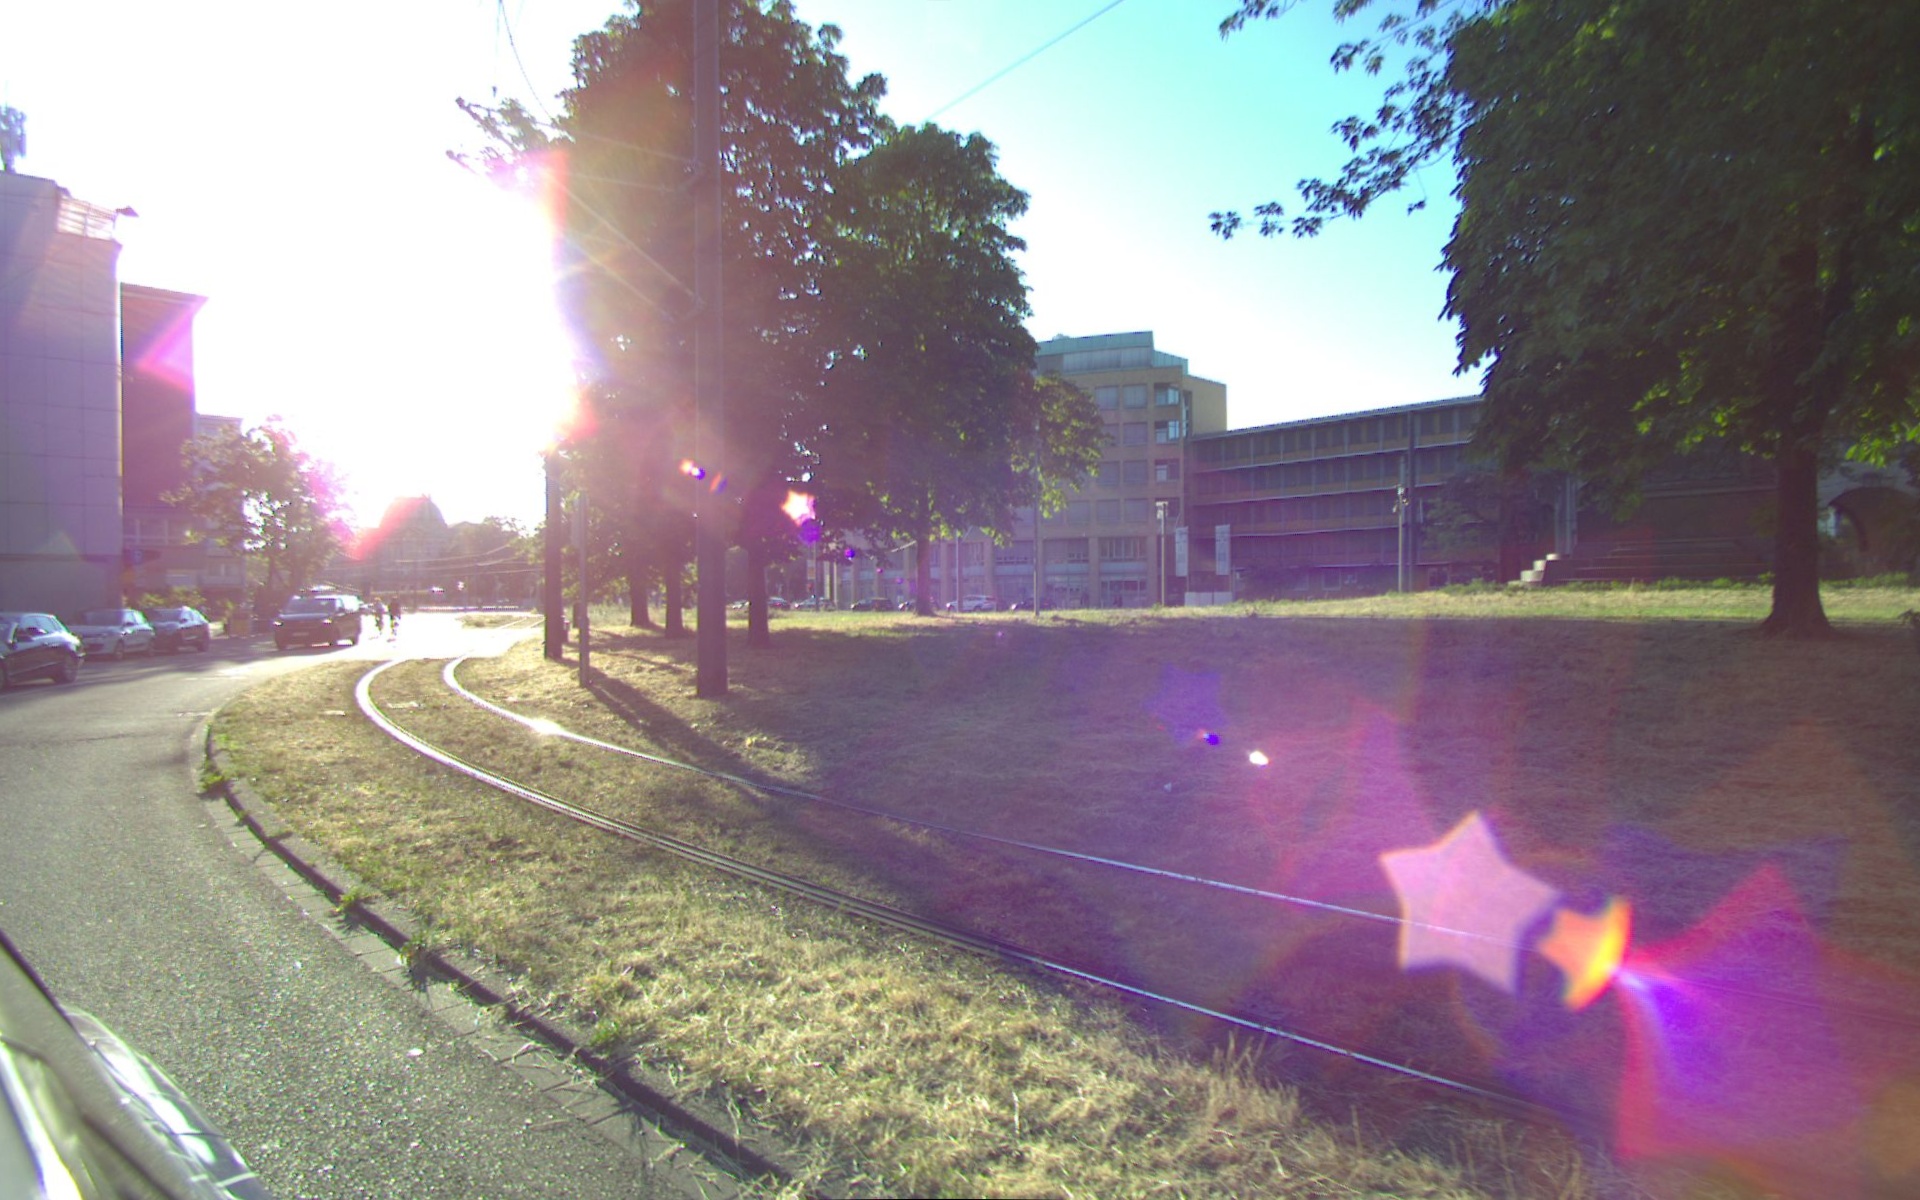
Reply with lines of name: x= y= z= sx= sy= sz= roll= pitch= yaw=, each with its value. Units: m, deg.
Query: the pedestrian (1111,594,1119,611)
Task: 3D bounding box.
pedestrian: x=13.083 y=0.233 z=85.566 sx=0.408 sy=1.441 sz=0.485 roll=0 pitch=-1 yaw=-44

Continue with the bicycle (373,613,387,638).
bicycle: x=-29.234 y=1.258 z=50.973 sx=0.521 sy=1.167 sz=1.854 roll=-3 pitch=3 yaw=-32

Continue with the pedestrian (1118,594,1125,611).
pedestrian: x=13.725 y=0.207 z=85.981 sx=0.408 sy=1.441 sz=0.485 roll=0 pitch=-1 yaw=-44

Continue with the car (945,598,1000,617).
car: x=0.984 y=0.603 z=82.384 sx=4.306 sy=1.493 sz=1.752 roll=-1 pitch=0 yaw=40

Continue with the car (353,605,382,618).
car: x=-72.909 y=1.434 z=124.545 sx=4.584 sy=1.411 sz=1.818 roll=-1 pitch=2 yaw=43

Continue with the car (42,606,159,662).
car: x=-26.057 y=0.997 z=30.818 sx=1.584 sy=1.568 sz=3.622 roll=2 pitch=-1 yaw=-22

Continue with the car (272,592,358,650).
car: x=-23.980 y=0.743 z=37.806 sx=1.888 sy=2.005 sz=4.963 roll=-1 pitch=0 yaw=-23

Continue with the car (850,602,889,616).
car: x=-8.169 y=0.824 z=91.273 sx=3.600 sy=1.162 sz=1.503 roll=-1 pitch=0 yaw=44

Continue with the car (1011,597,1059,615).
car: x=6.033 y=0.484 z=81.590 sx=3.515 sy=1.364 sz=1.535 roll=-2 pitch=0 yaw=38

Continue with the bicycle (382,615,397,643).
bicycle: x=-26.371 y=1.338 z=46.771 sx=0.521 sy=1.167 sz=1.855 roll=-2 pitch=2 yaw=-28

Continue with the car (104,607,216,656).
car: x=-27.673 y=1.050 z=35.169 sx=1.757 sy=1.568 sz=4.248 roll=2 pitch=-1 yaw=-20

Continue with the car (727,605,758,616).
car: x=-30.397 y=1.506 z=141.566 sx=3.941 sy=1.431 sz=1.904 roll=-1 pitch=0 yaw=-44

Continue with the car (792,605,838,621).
car: x=-13.932 y=1.251 z=96.913 sx=4.784 sy=1.491 sz=1.867 roll=-1 pitch=1 yaw=45

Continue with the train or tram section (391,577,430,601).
train or tram section: x=-89.202 y=-1.748 z=164.151 sx=2.741 sy=3.562 sz=10.577 roll=-1 pitch=0 yaw=-45

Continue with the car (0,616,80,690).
car: x=-18.562 y=1.001 z=18.950 sx=1.746 sy=1.317 sz=4.254 roll=-1 pitch=0 yaw=-20

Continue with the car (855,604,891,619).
car: x=-8.757 y=1.153 z=102.021 sx=3.519 sy=1.364 sz=1.534 roll=-2 pitch=0 yaw=41

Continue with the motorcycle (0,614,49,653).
motorcycle: x=-32.837 y=1.159 z=35.075 sx=1.758 sy=1.341 sz=0.585 roll=1 pitch=-1 yaw=-33

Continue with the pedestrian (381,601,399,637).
pedestrian: x=-26.291 y=0.866 z=46.671 sx=0.668 sy=1.661 sz=0.904 roll=-2 pitch=1 yaw=-28

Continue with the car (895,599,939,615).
car: x=-3.678 y=0.615 z=86.657 sx=3.740 sy=1.291 sz=1.628 roll=-1 pitch=0 yaw=43

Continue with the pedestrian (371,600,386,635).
pedestrian: x=-29.338 y=0.878 z=51.052 sx=0.629 sy=1.661 sz=0.846 roll=-2 pitch=3 yaw=-30

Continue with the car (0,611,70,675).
car: x=-23.811 y=1.021 z=24.797 sx=1.639 sy=1.452 sz=3.867 roll=2 pitch=-1 yaw=-19

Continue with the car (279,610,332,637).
car: x=-37.811 y=1.345 z=58.537 sx=1.704 sy=1.483 sz=3.911 roll=2 pitch=-1 yaw=-20
